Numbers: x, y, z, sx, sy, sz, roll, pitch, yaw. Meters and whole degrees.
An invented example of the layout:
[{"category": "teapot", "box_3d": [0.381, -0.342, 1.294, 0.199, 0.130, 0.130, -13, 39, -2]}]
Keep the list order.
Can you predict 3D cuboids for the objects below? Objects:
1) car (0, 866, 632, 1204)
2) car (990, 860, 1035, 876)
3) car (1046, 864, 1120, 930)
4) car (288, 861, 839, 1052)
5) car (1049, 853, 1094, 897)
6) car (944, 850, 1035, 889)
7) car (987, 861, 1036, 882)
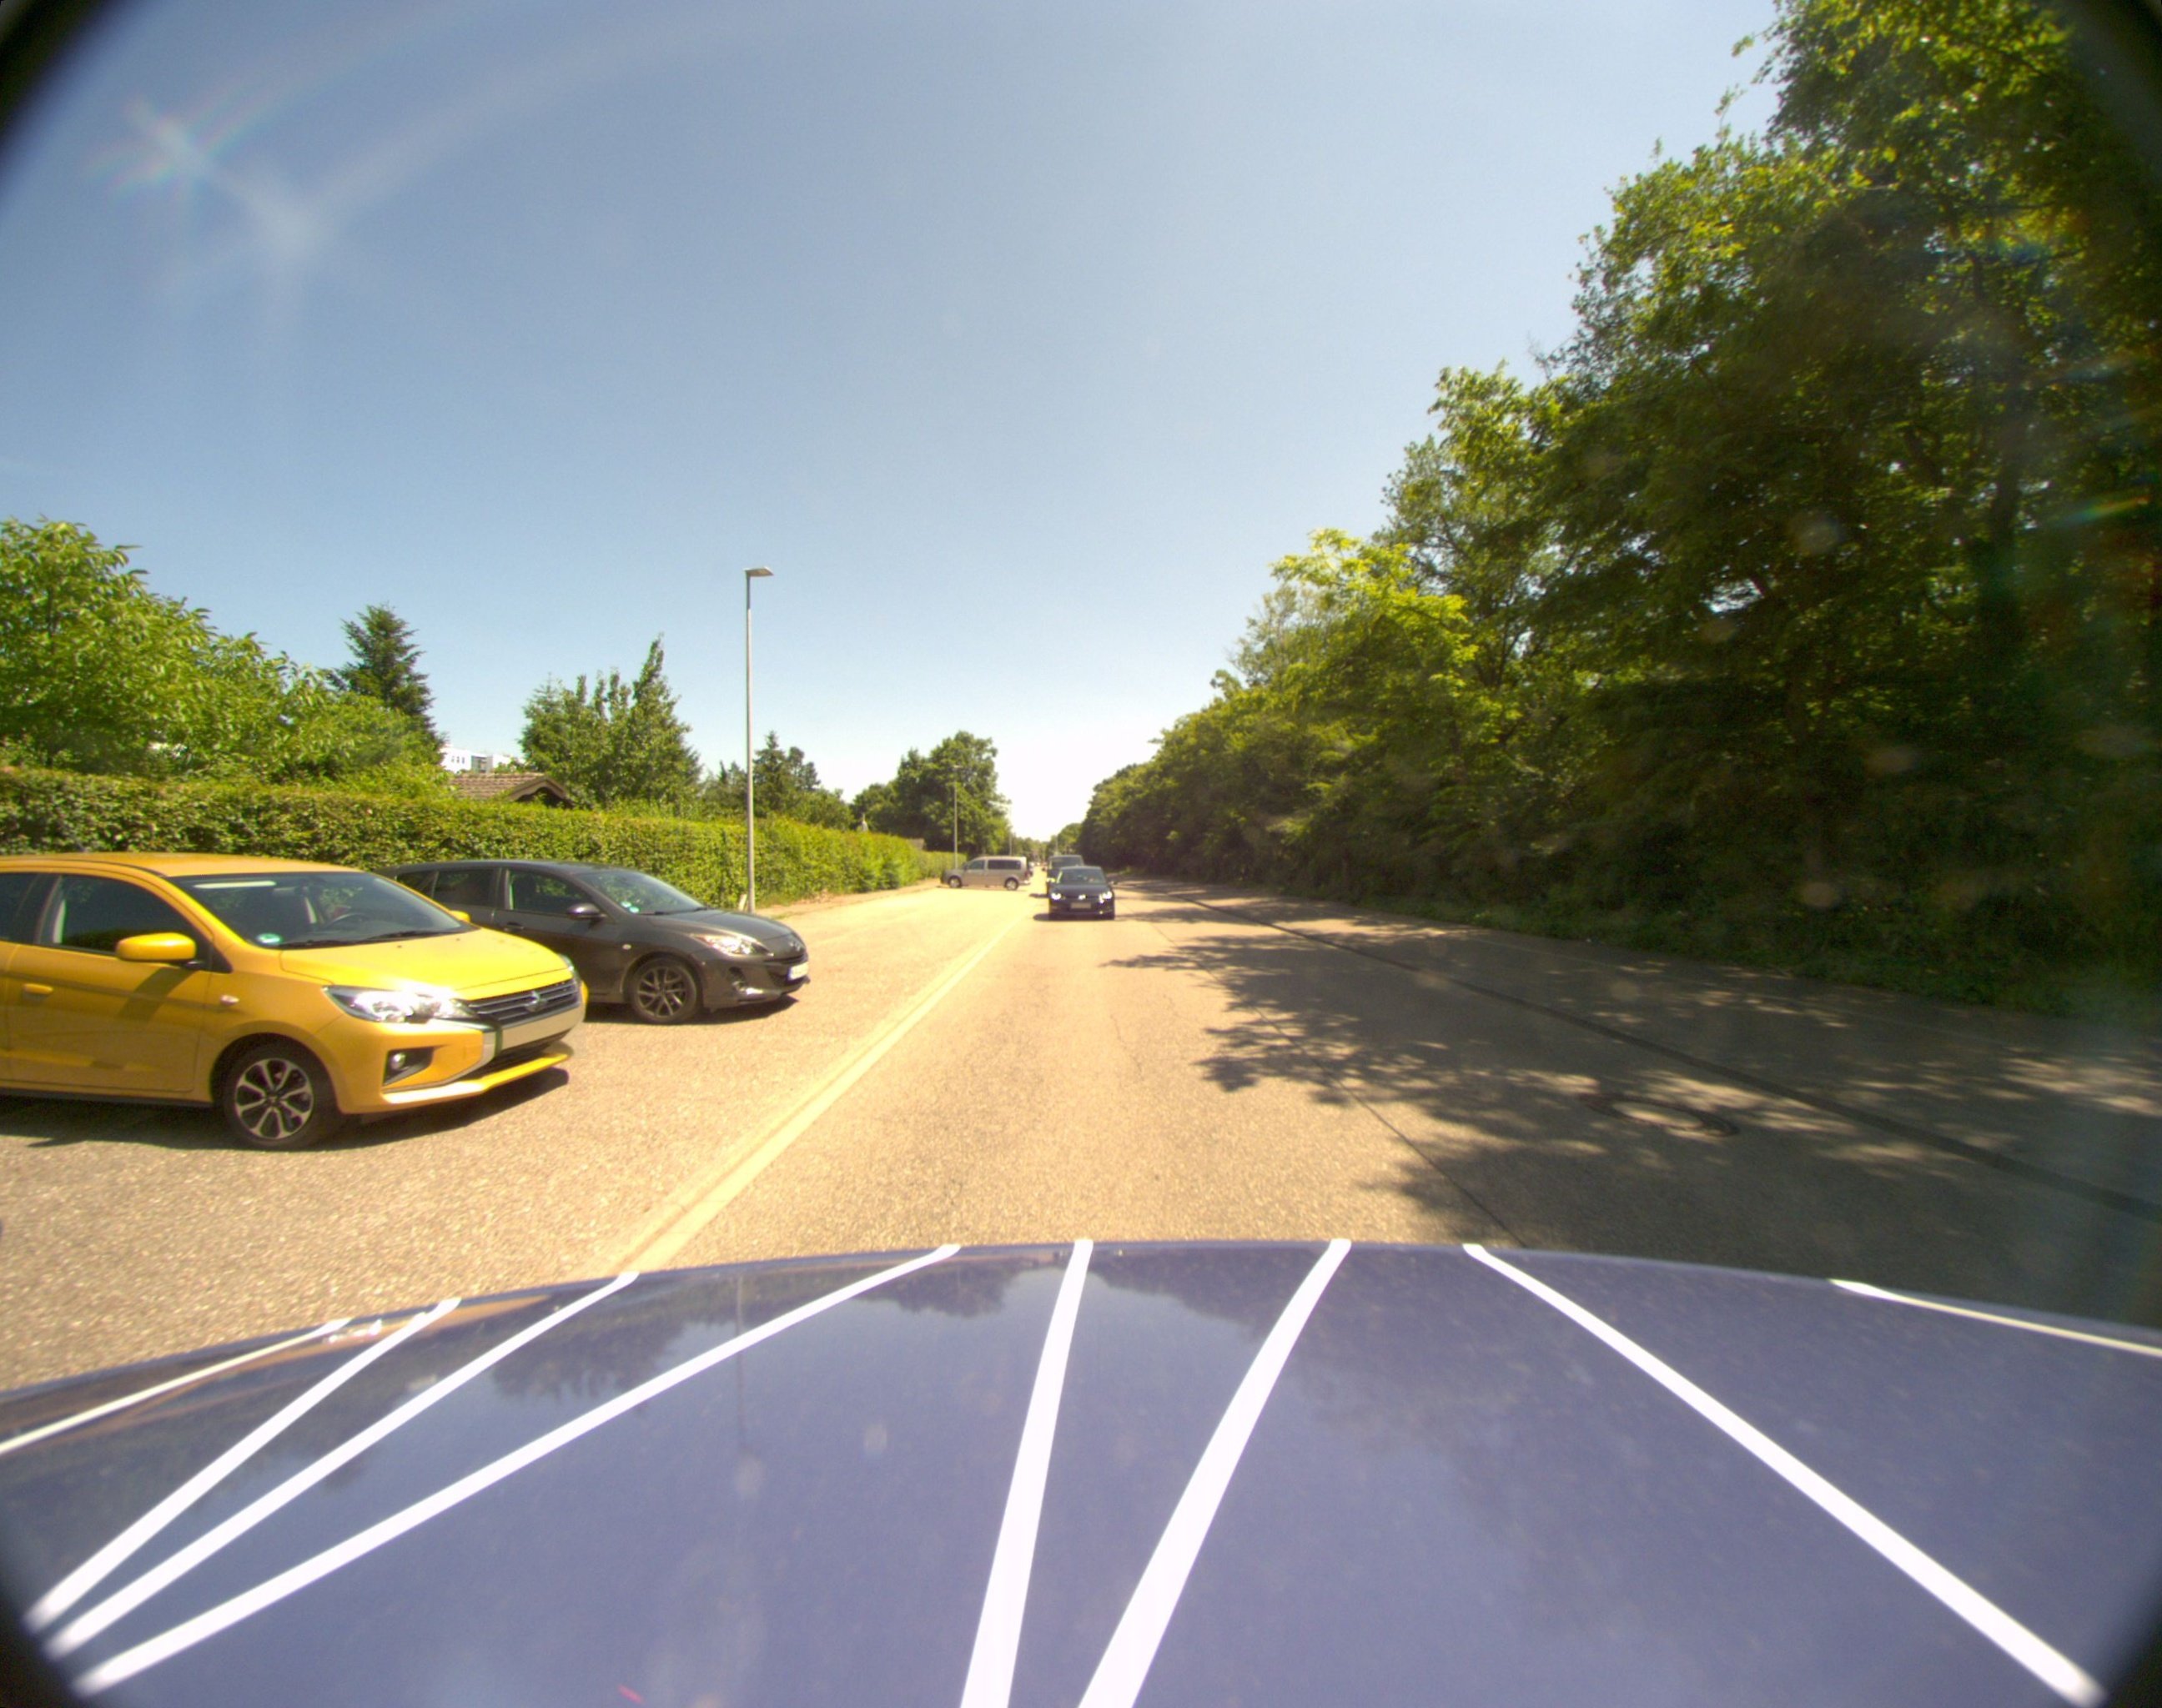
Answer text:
[{"category": "car", "box_3d": [-5.194, 0.891, 4.679, 3.809, 1.446, 1.775, 2, 1, 4]}, {"category": "car", "box_3d": [-6.253, 1.291, 69.726, 4.008, 1.444, 1.831, 0, 0, -3]}, {"category": "car", "box_3d": [0.043, 1.123, 21.753, 1.887, 1.667, 4.662, 0, 0, -1]}, {"category": "car", "box_3d": [-4.828, 0.913, 7.591, 4.174, 1.487, 1.882, 2, 1, 0]}, {"category": "car", "box_3d": [-0.513, 0.945, 36.257, 2.002, 1.965, 4.449, -1, 0, -3]}, {"category": "car", "box_3d": [-4.930, 0.831, 41.276, 4.633, 1.837, 1.995, 3, 0, -1]}, {"category": "car", "box_3d": [-6.577, 1.656, 72.552, 4.483, 1.694, 1.913, 4, -1, -3]}]
